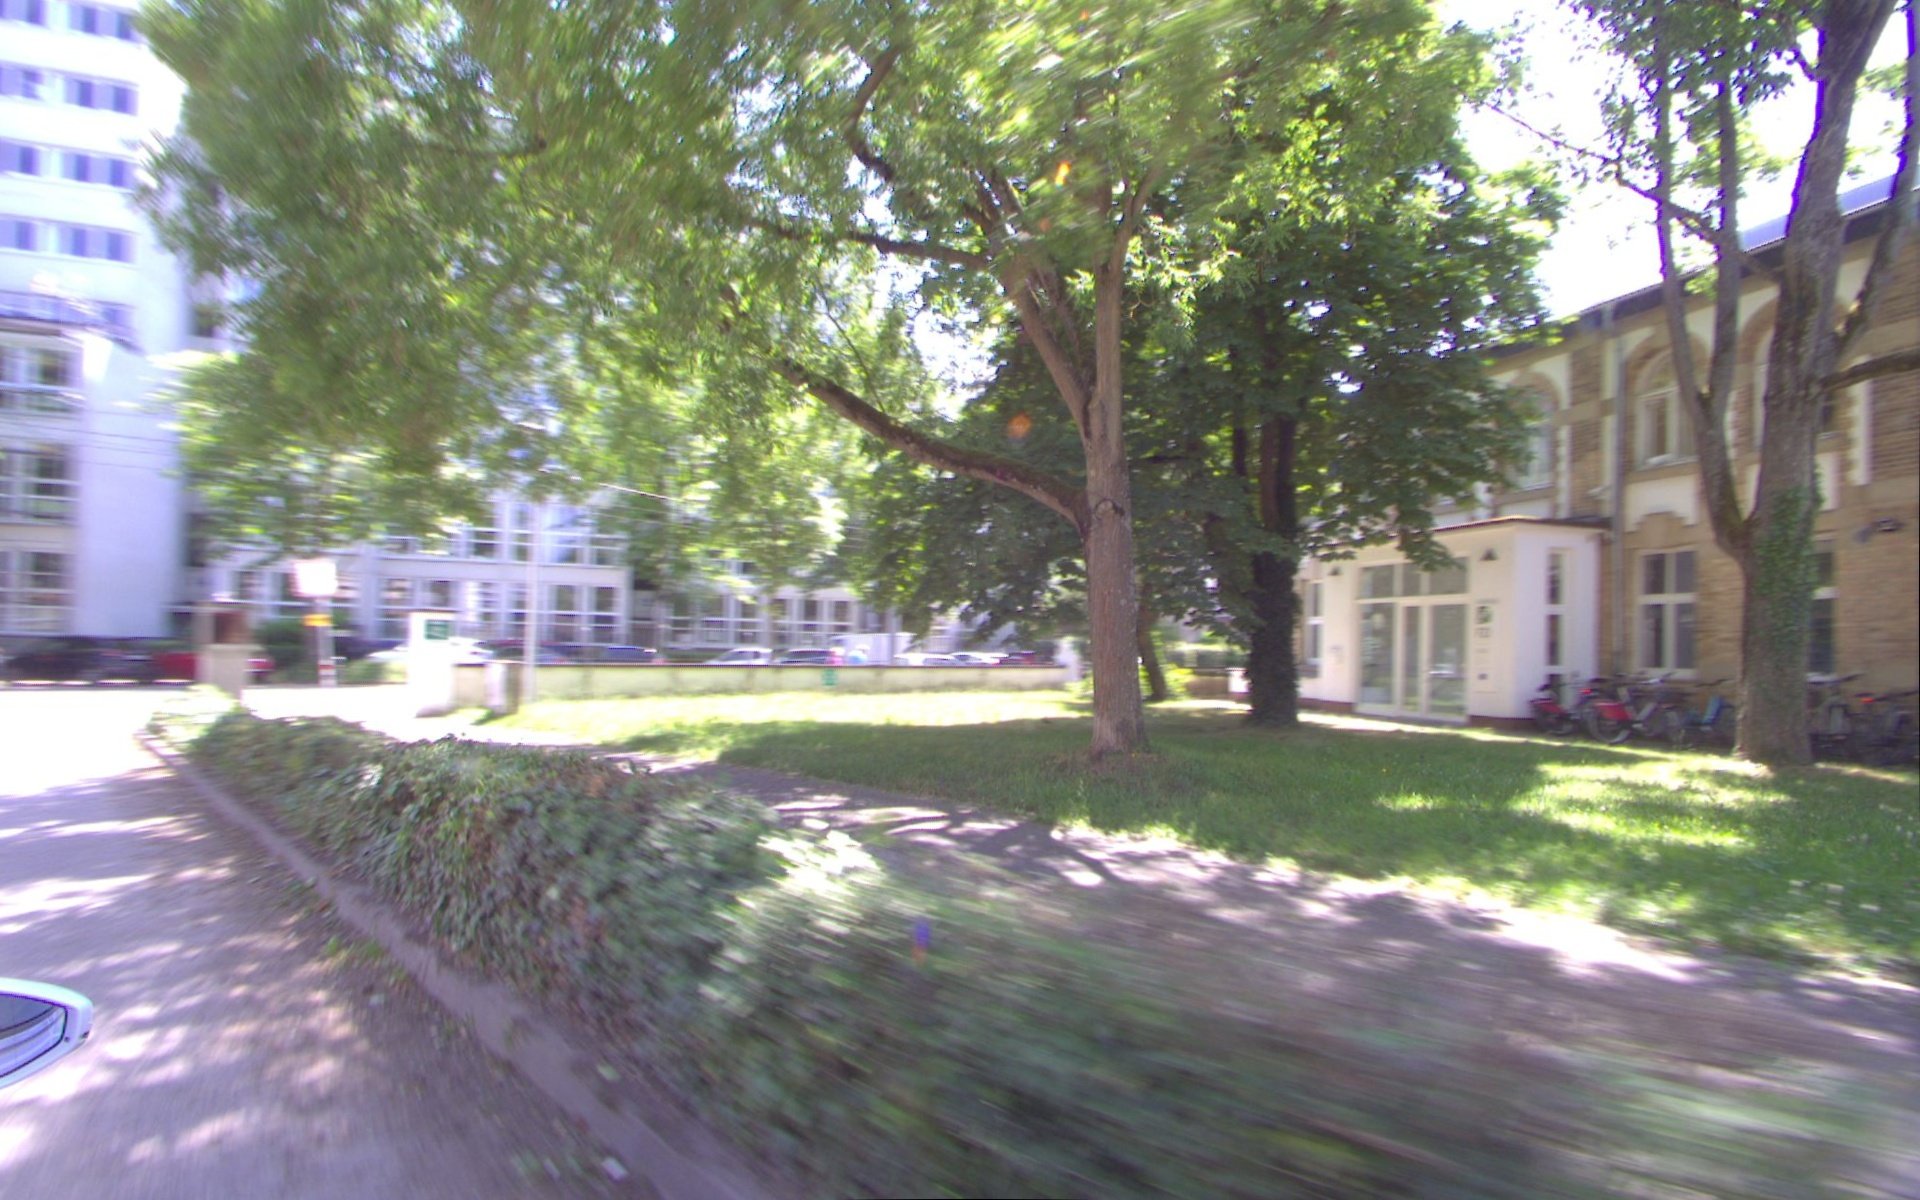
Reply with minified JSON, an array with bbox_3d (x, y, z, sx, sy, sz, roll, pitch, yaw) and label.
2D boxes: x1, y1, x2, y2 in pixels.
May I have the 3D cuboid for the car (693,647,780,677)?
[{"bbox_3d":[-10.158,2.805,45.697,3.672,1.307,1.613,1,-2,-5],"label":"car"}]

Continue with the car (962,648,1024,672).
[{"bbox_3d":[1.891,3.419,57.230,3.278,1.307,1.498,0,-2,12],"label":"car"}]

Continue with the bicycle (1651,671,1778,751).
[{"bbox_3d":[11.518,1.686,15.287,1.809,1.157,0.589,2,-2,-16],"label":"bicycle"}]

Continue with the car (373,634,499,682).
[{"bbox_3d":[-18.938,2.084,36.276,3.672,1.640,1.613,1,-2,-3],"label":"car"}]

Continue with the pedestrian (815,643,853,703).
[{"bbox_3d":[-3.401,1.966,26.996,0.725,1.609,0.734,2,-4,-42],"label":"pedestrian"}]

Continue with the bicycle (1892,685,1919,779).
[{"bbox_3d":[12.380,1.624,12.289,1.809,1.114,0.522,2,-2,-16],"label":"bicycle"}]

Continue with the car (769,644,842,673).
[{"bbox_3d":[-7.384,2.796,47.979,3.299,1.307,1.535,1,-2,-3],"label":"car"}]

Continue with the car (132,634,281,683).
[{"bbox_3d":[-23.835,1.831,31.737,3.532,1.455,1.613,1,-2,3],"label":"car"}]

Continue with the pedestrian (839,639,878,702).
[{"bbox_3d":[-2.645,1.846,26.089,0.726,1.609,0.734,3,-4,-44],"label":"pedestrian"}]

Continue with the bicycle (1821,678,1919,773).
[{"bbox_3d":[12.205,1.620,13.052,1.809,1.157,0.589,2,-2,-16],"label":"bicycle"}]

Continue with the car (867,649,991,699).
[{"bbox_3d":[-0.960,2.356,32.245,1.689,1.482,3.902,-1,-3,45],"label":"car"}]

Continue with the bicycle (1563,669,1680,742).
[{"bbox_3d":[10.957,1.742,16.598,1.809,1.157,0.589,2,-2,-16],"label":"bicycle"}]

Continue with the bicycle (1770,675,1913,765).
[{"bbox_3d":[12.019,1.630,13.661,1.809,1.157,0.589,2,-2,-16],"label":"bicycle"}]

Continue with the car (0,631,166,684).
[{"bbox_3d":[-25.810,1.689,29.436,3.606,1.463,1.613,1,-2,0],"label":"car"}]

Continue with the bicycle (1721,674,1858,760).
[{"bbox_3d":[11.821,1.656,14.278,1.809,1.157,0.589,2,-2,-16],"label":"bicycle"}]

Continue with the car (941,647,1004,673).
[{"bbox_3d":[0.697,3.264,54.590,3.276,1.307,1.498,0,-2,8],"label":"car"}]

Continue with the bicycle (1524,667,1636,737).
[{"bbox_3d":[10.710,1.750,17.304,1.809,1.157,0.589,2,-2,-16],"label":"bicycle"}]

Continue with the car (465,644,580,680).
[{"bbox_3d":[-16.772,2.349,38.487,3.672,1.297,1.613,1,-2,3],"label":"car"}]

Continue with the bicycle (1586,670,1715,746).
[{"bbox_3d":[10.924,1.706,15.856,1.808,1.157,0.589,2,-2,-12],"label":"bicycle"}]

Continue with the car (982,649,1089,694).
[{"bbox_3d":[2.737,2.529,35.725,1.689,1.482,3.902,-1,-3,45],"label":"car"}]

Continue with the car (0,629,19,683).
[{"bbox_3d":[-28.252,1.506,27.254,3.606,1.482,1.645,1,-2,-3],"label":"car"}]

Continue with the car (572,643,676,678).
[{"bbox_3d":[-13.670,2.460,40.873,3.672,1.321,1.613,1,-2,4],"label":"car"}]

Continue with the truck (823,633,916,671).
[{"bbox_3d":[-4.489,2.604,50.141,4.554,1.856,1.657,0,-2,-2],"label":"truck"}]
